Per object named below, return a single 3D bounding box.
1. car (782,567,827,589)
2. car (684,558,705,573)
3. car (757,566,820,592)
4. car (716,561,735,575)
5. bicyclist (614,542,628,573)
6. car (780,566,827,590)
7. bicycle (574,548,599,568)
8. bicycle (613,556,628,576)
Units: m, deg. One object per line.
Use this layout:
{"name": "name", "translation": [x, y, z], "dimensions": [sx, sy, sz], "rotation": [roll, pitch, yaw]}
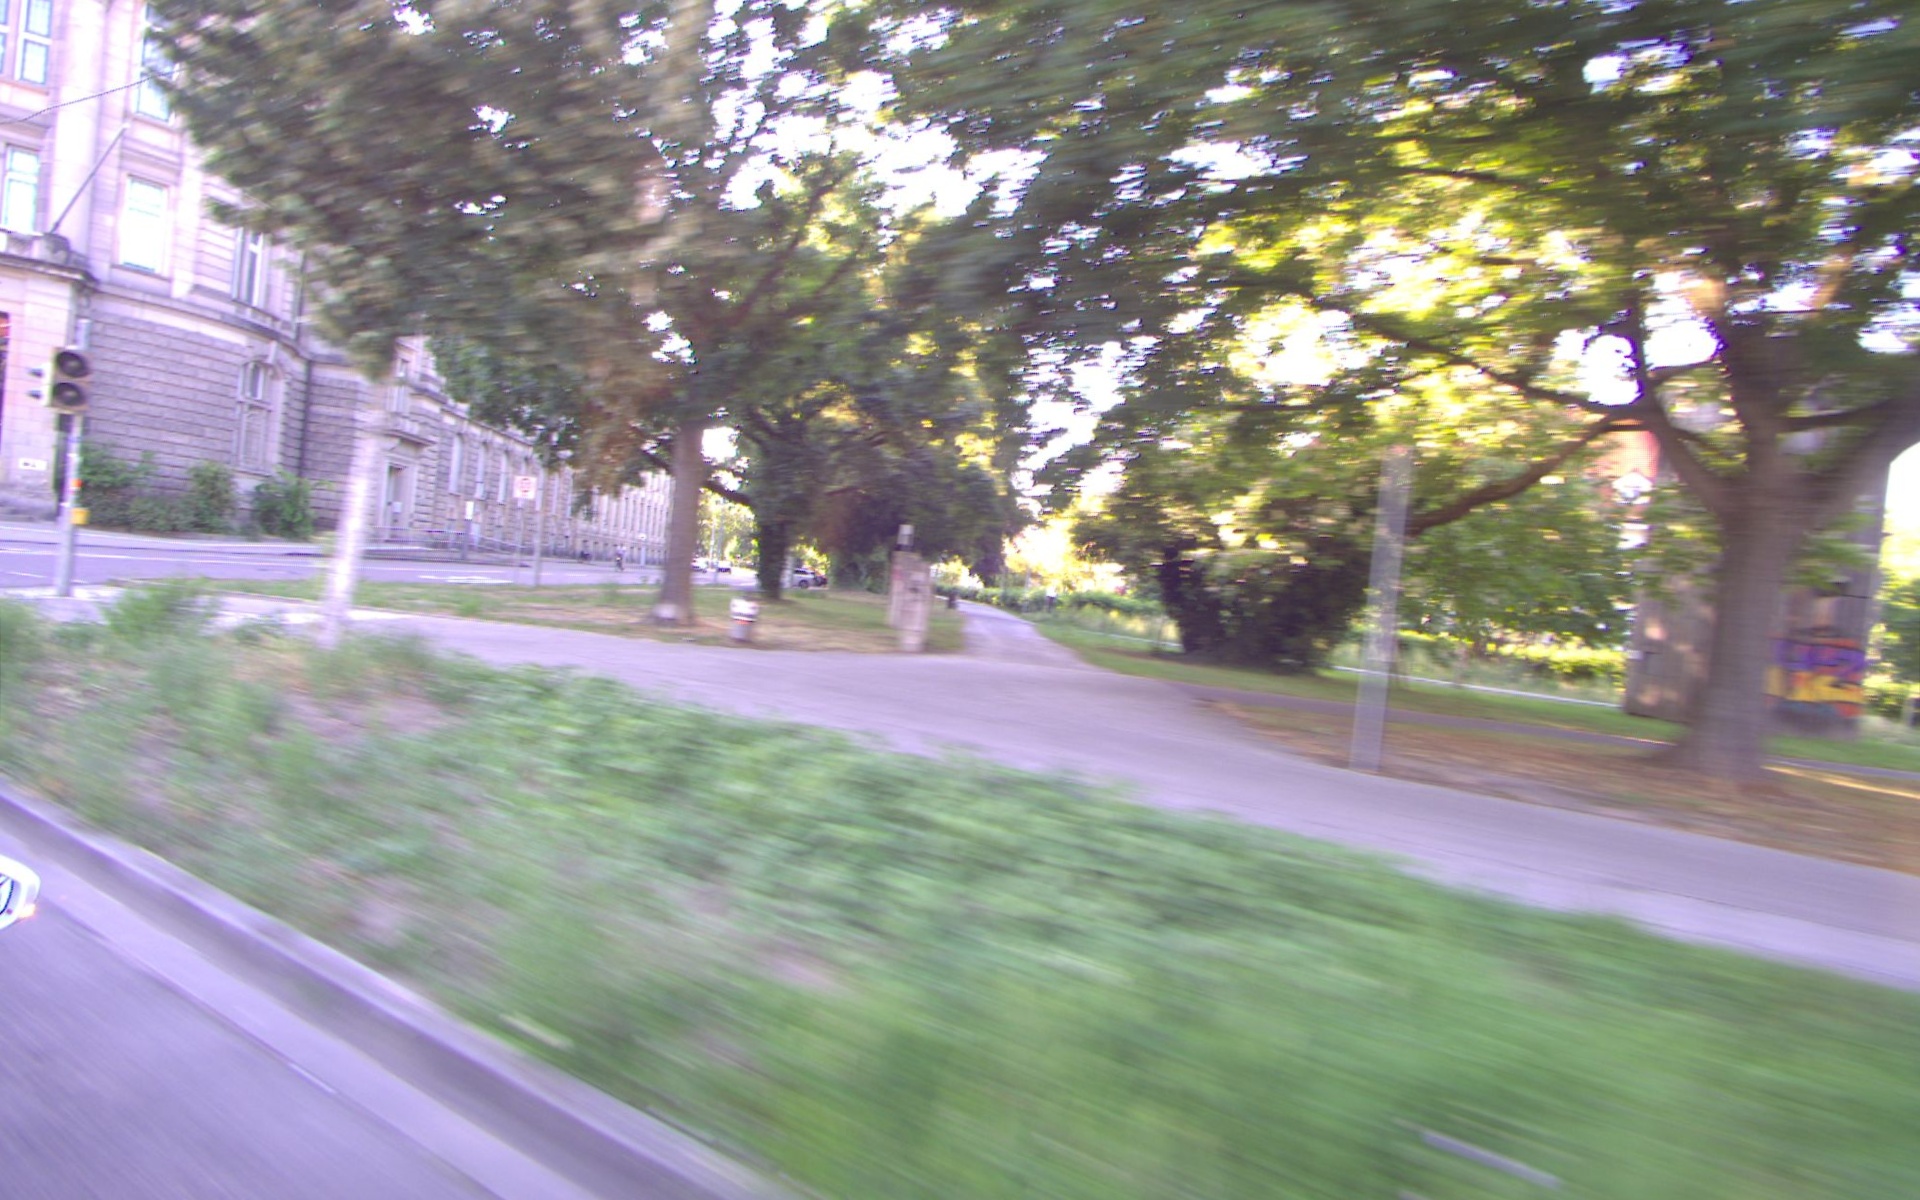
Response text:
{"name": "car", "translation": [-17.797, -2.543, 115.115], "dimensions": [4.755, 2.040, 1.796], "rotation": [5, 1, -14]}
{"name": "car", "translation": [-29.160, -3.815, 110.730], "dimensions": [1.704, 1.415, 4.364], "rotation": [7, 0, -10]}
{"name": "car", "translation": [-12.552, -1.541, 73.851], "dimensions": [4.377, 1.488, 1.779], "rotation": [6, 1, -8]}
{"name": "car", "translation": [-29.783, -4.095, 127.789], "dimensions": [1.853, 1.485, 4.363], "rotation": [7, 1, -10]}
{"name": "bicyclist", "translation": [-20.750, -2.604, 61.591], "dimensions": [0.638, 1.830, 0.776], "rotation": [5, 2, -22]}
{"name": "car", "translation": [-14.892, -2.046, 96.034], "dimensions": [4.166, 1.883, 1.998], "rotation": [5, 1, -6]}
{"name": "bicycle", "translation": [-24.933, -2.801, 67.222], "dimensions": [0.840, 1.115, 1.980], "rotation": [8, 0, -3]}
{"name": "bicycle", "translation": [-20.829, -2.100, 61.676], "dimensions": [0.655, 1.084, 2.142], "rotation": [5, 1, -21]}
